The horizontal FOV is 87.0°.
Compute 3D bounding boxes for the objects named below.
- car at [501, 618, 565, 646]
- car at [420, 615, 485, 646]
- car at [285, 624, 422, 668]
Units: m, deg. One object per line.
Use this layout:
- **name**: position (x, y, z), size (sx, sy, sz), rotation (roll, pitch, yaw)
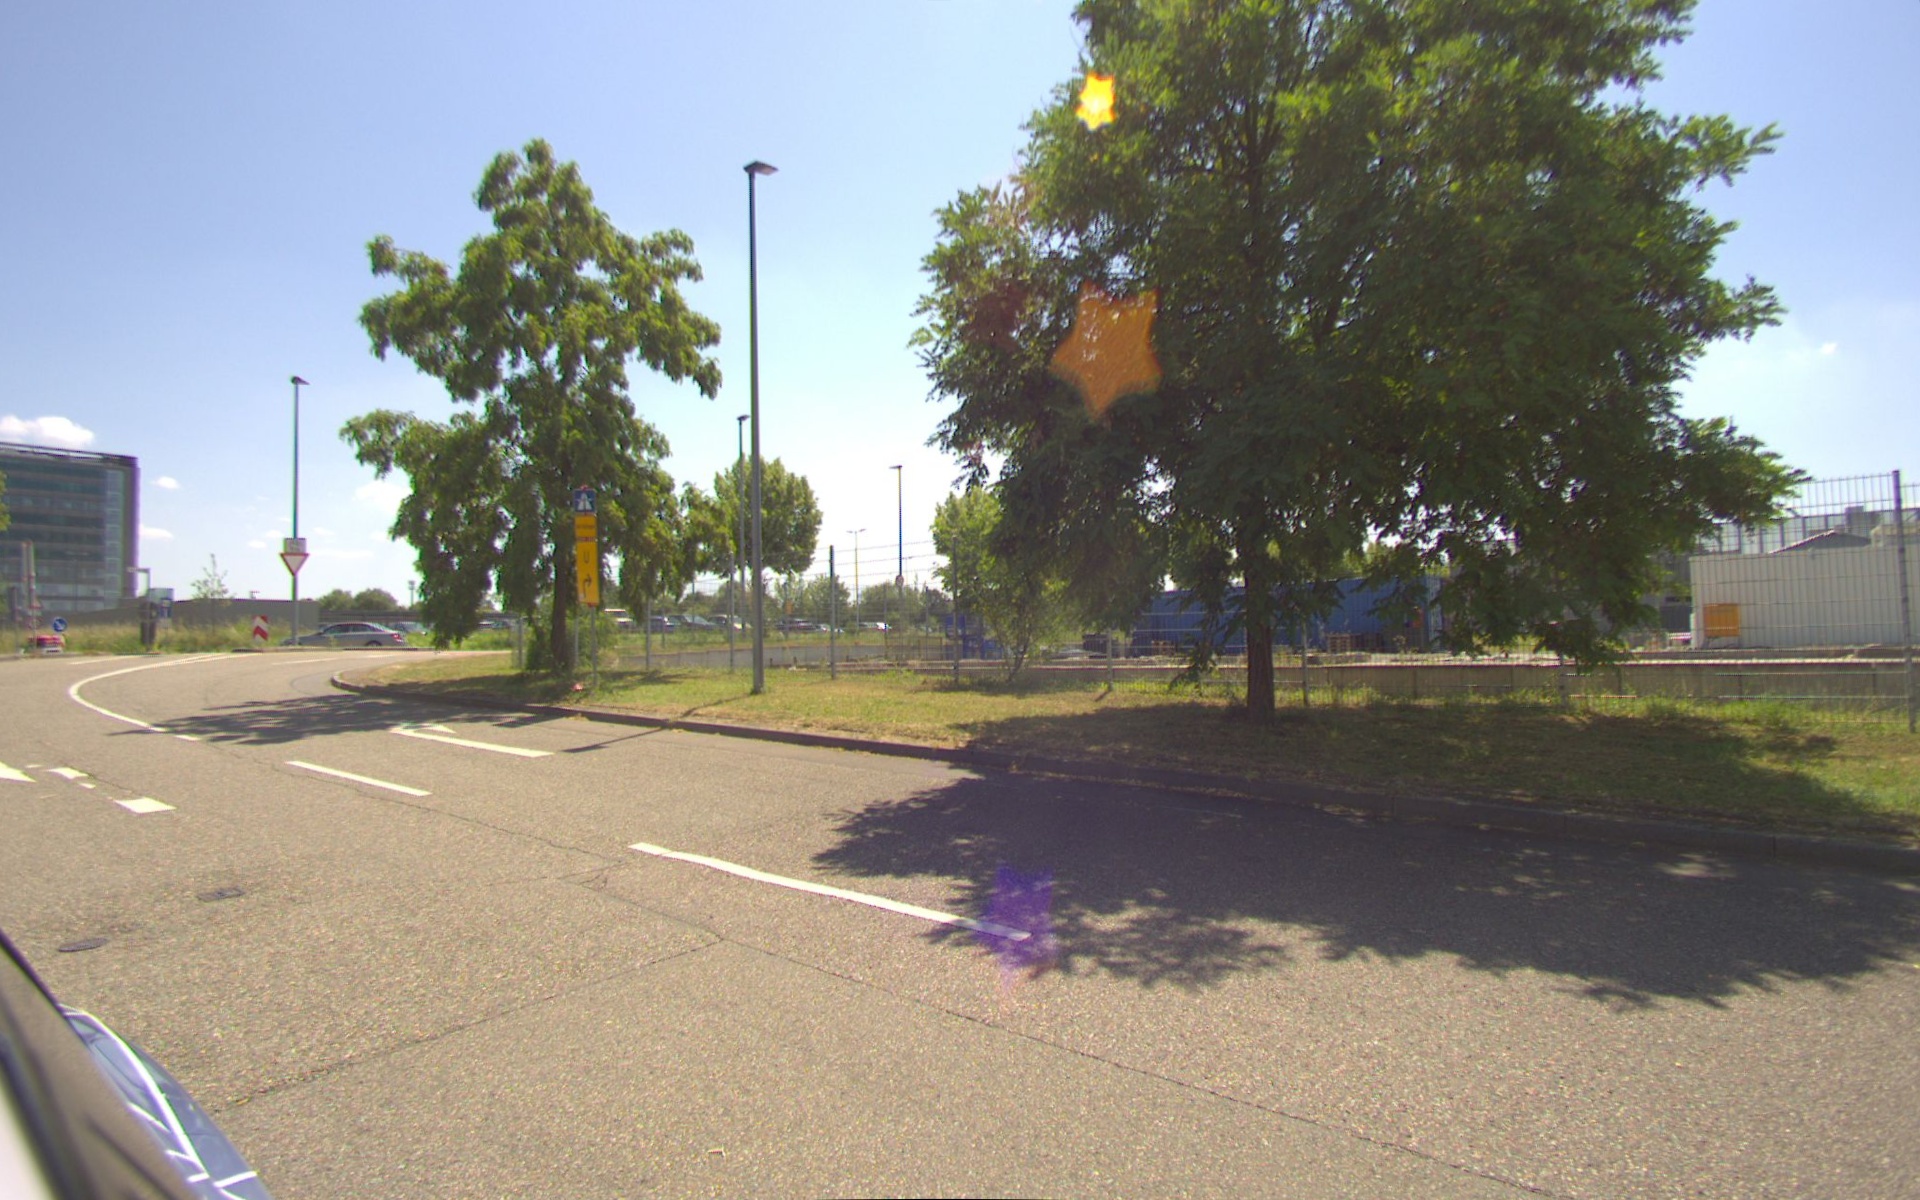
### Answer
- **car**: position (-23.320, 1.749, 55.239), size (3.873, 1.307, 1.554), rotation (-4, -2, 39)
- **car**: position (-31.306, 1.914, 62.363), size (4.596, 1.703, 1.755), rotation (-4, -5, 37)
- **car**: position (-24.320, 1.844, 40.751), size (4.420, 1.385, 1.679), rotation (-3, -4, -19)
